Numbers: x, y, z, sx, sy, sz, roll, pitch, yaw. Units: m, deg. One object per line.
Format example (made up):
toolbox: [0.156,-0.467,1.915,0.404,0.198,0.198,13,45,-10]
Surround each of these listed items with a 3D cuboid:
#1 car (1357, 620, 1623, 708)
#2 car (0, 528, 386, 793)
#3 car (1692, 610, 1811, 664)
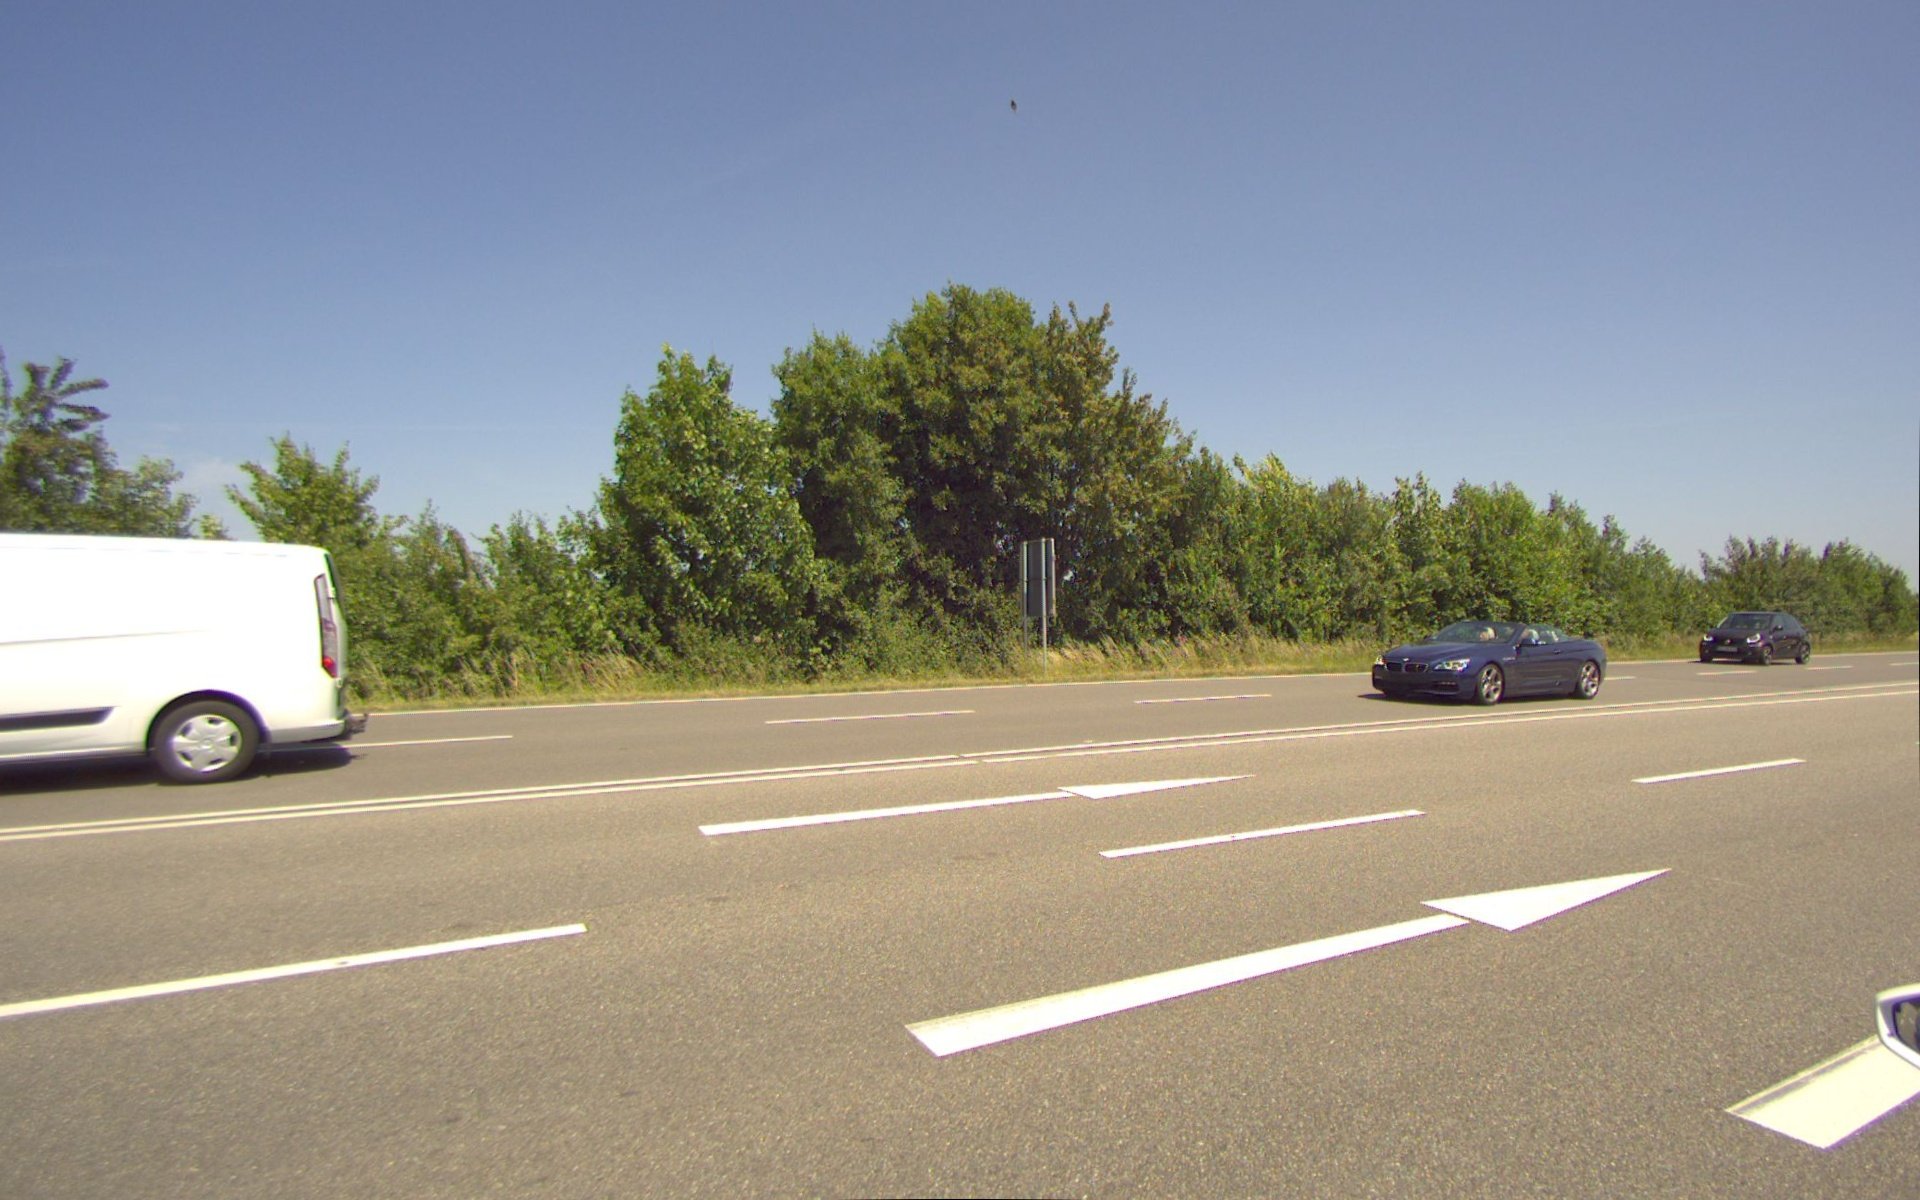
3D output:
car: [9.093,1.015,17.129,4.709,1.297,1.797,1,0,-30]
car: [-7.579,0.466,8.122,4.999,1.943,1.894,1,-2,-34]
car: [23.669,1.069,30.022,3.517,1.507,1.636,1,0,-31]
